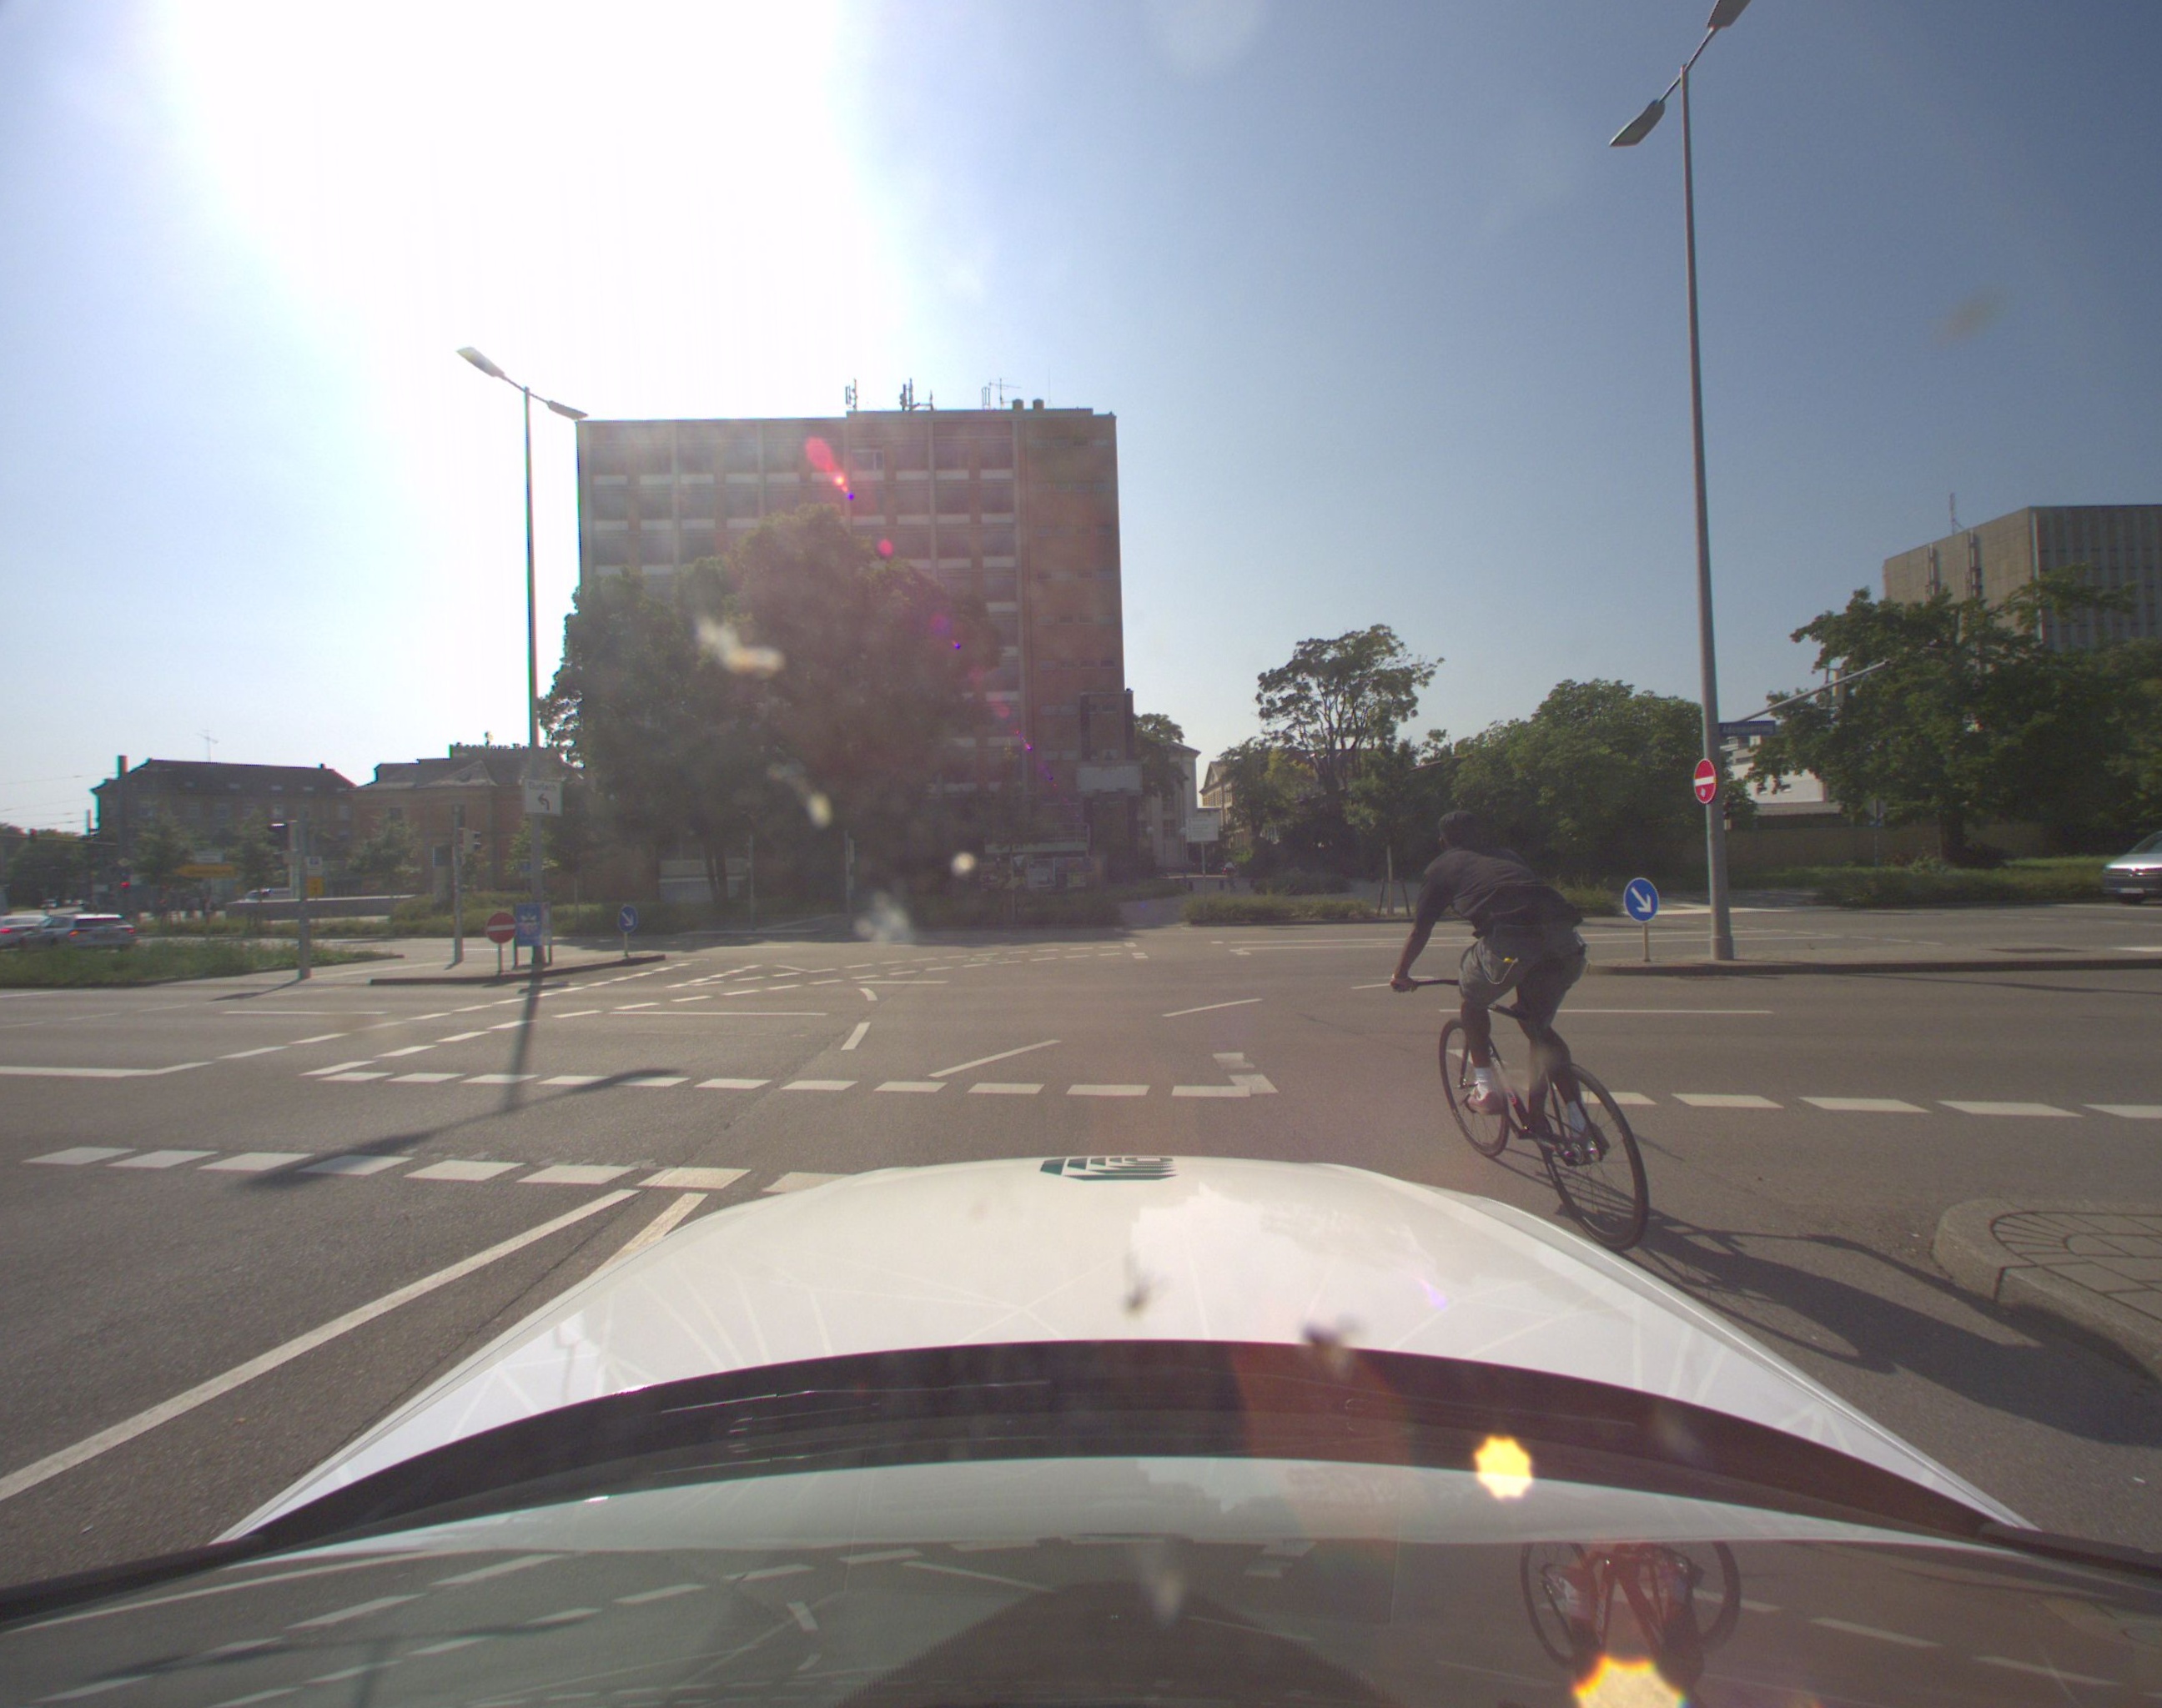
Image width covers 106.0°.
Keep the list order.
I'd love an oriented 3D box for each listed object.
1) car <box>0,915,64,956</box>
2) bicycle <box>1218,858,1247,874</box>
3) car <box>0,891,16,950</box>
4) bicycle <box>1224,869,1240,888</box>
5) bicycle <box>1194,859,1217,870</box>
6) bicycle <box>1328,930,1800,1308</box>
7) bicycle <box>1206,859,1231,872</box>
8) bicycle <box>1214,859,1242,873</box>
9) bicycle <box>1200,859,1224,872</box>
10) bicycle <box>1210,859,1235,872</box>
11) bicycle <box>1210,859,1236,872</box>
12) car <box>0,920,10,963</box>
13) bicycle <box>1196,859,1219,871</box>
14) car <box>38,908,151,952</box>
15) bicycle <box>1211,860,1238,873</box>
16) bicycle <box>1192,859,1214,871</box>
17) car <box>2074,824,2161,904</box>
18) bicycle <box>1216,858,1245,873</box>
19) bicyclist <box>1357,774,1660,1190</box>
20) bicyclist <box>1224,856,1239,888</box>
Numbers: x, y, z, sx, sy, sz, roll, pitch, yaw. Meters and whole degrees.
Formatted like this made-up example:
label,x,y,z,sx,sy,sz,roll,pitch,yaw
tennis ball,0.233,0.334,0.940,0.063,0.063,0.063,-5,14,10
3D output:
label,x,y,z,sx,sy,sz,roll,pitch,yaw
car,-41.177,3.160,31.422,3.893,1.403,1.502,-3,-2,24
bicycle,13.217,1.059,71.200,2.416,1.318,0.721,0,-1,4
car,-49.042,3.008,35.591,4.624,2.549,2.209,-3,-2,27
bicycle,7.612,1.239,41.086,0.669,0.879,1.404,-2,-1,8
bicycle,13.695,1.172,89.696,2.416,1.262,0.721,0,-1,4
bicycle,1.855,0.933,3.649,0.770,0.976,2.149,-2,-1,-1
bicycle,13.733,1.131,81.572,2.416,1.282,0.721,0,-1,4
bicycle,13.501,1.109,74.872,2.416,1.223,0.721,0,-1,4
bicycle,13.300,1.151,82.704,2.416,1.282,0.721,0,-1,4
bicycle,13.871,1.131,79.982,2.416,1.229,0.721,0,-1,4
bicycle,13.729,1.147,78.937,2.416,1.239,0.721,0,-1,4
car,-37.099,2.923,26.487,3.916,1.368,1.715,-3,-2,21
bicycle,13.617,1.138,87.921,2.416,1.282,0.721,0,-1,4
car,-35.209,2.725,29.068,3.589,1.387,1.700,-3,-2,24
bicycle,13.743,1.154,78.080,2.416,1.234,0.721,0,-1,4
bicycle,13.572,1.192,90.593,2.416,1.280,0.721,0,-1,4
car,28.245,0.152,20.023,4.932,1.875,1.850,-2,-1,6
bicycle,13.287,1.058,72.336,2.416,1.318,0.721,0,-1,4
bicyclist,1.827,0.494,3.655,0.770,1.578,0.990,-2,-1,-2
bicyclist,7.605,0.897,41.178,0.646,1.601,0.922,-2,-1,8
